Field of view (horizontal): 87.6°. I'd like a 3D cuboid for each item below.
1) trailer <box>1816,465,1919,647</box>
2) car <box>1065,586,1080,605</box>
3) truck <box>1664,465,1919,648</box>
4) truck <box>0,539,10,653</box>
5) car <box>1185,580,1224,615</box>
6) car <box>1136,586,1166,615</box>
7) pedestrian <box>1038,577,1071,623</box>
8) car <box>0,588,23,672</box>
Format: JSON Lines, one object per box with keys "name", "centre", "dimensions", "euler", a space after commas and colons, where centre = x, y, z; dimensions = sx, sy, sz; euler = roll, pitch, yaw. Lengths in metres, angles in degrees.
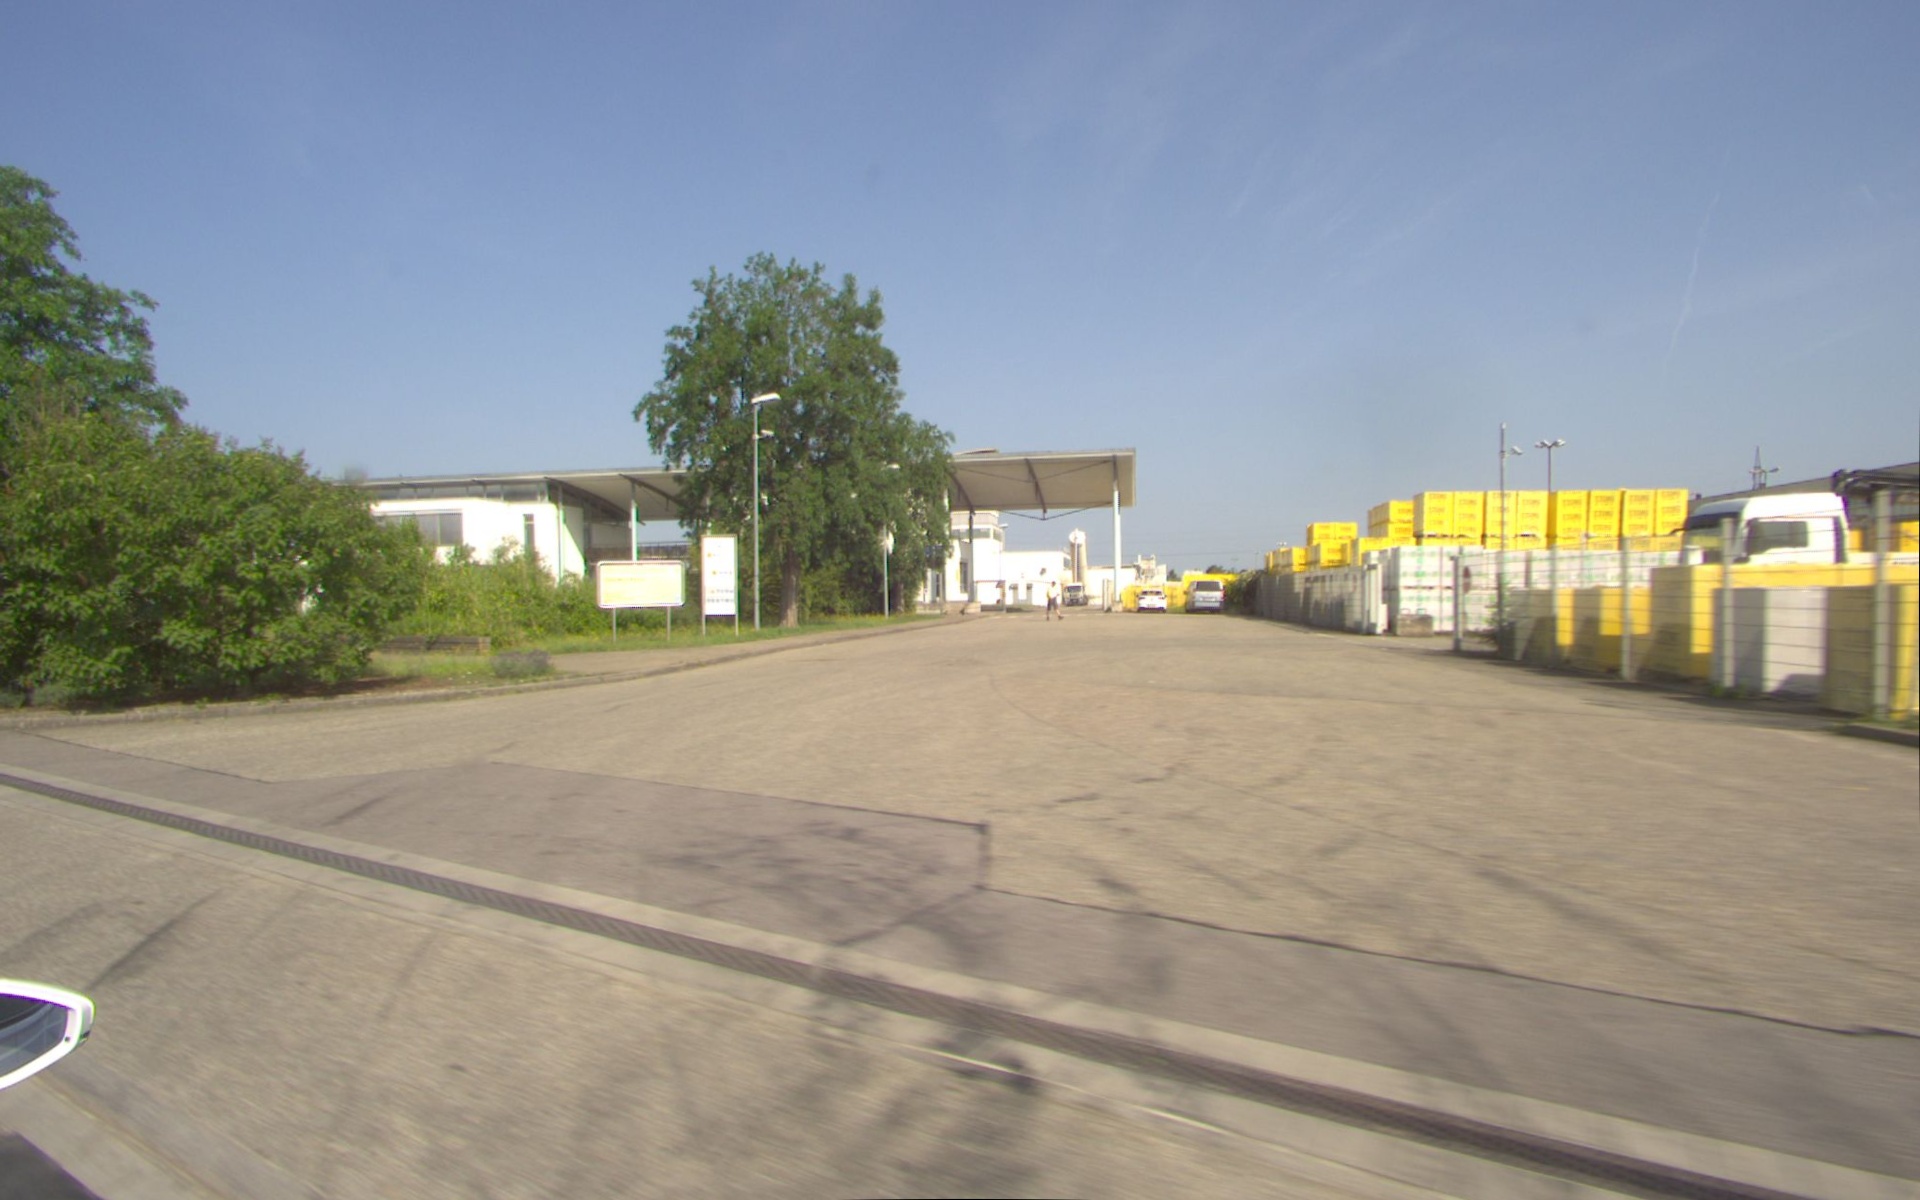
{"name": "trailer", "centre": [24.214, -0.951, 22.212], "dimensions": [7.652, 3.925, 2.485], "euler": [-1, -1, 10]}
{"name": "car", "centre": [16.874, -0.643, 149.920], "dimensions": [1.962, 2.721, 5.690], "euler": [-1, 0, 9]}
{"name": "truck", "centre": [19.143, -0.874, 23.130], "dimensions": [3.924, 3.925, 2.545], "euler": [-1, -1, 10]}
{"name": "truck", "centre": [-31.677, -0.015, 27.090], "dimensions": [2.701, 3.415, 8.193], "euler": [-1, 0, 31]}
{"name": "car", "centre": [14.135, -0.133, 57.947], "dimensions": [1.962, 1.839, 4.000], "euler": [-1, -2, 11]}
{"name": "car", "centre": [11.337, 0.052, 59.555], "dimensions": [1.695, 1.527, 4.000], "euler": [-1, -2, 10]}
{"name": "pedestrian", "centre": [4.352, 0.023, 46.119], "dimensions": [0.971, 2.039, 1.152], "euler": [1, -2, -38]}
{"name": "car", "centre": [-22.918, 0.704, 21.310], "dimensions": [1.972, 1.862, 3.977], "euler": [0, 1, 33]}
